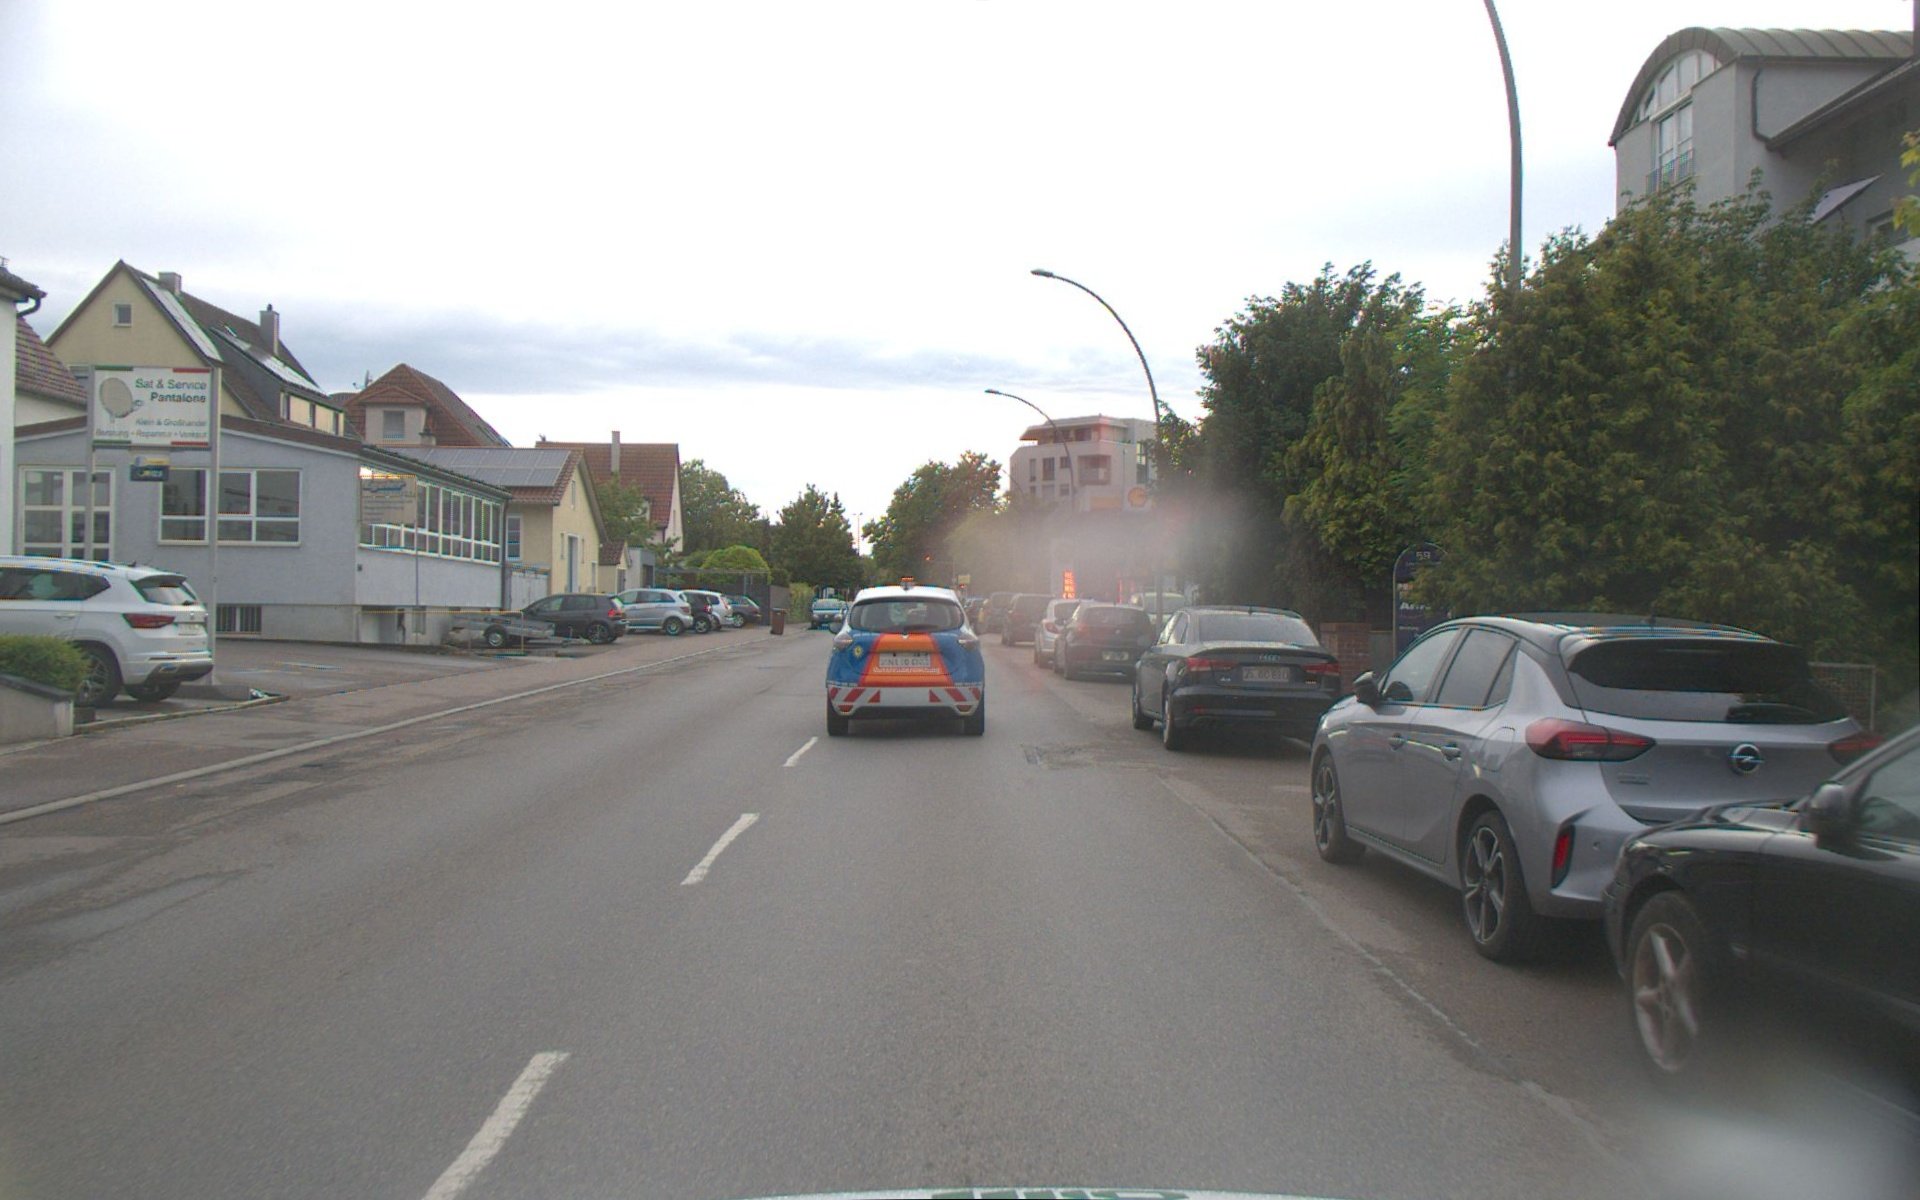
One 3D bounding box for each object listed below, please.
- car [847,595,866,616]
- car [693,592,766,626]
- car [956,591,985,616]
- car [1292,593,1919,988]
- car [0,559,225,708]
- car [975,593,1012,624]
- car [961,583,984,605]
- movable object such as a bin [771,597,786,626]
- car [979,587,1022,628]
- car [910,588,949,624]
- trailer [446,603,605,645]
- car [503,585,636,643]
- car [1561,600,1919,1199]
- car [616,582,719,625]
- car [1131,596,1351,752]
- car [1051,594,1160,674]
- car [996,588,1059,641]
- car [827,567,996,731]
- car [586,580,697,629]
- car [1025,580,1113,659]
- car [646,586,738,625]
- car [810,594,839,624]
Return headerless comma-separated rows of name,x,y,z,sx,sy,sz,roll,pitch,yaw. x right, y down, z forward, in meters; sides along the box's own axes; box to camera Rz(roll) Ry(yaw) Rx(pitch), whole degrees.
car,-6.422,0.339,102.645,1.128,1.254,3.371,0,1,-3
car,-10.473,0.406,75.272,3.217,1.473,1.478,-1,1,-5
car,0.643,0.200,105.722,1.617,1.509,3.998,2,0,-3
car,2.889,0.735,8.272,1.509,1.454,3.749,2,1,-3
car,-10.725,0.339,19.100,3.684,1.595,1.654,2,0,-3
car,1.681,0.433,84.629,1.617,1.509,3.998,2,0,-3
car,0.992,-0.483,133.085,1.617,1.682,3.998,2,0,-3
movable object such as a bin,-7.593,0.486,69.380,0.568,1.225,0.318,1,0,-1
car,1.769,0.326,73.809,1.617,1.701,3.998,2,0,-3
car,-1.419,0.256,75.018,1.617,1.548,3.998,2,0,-3
trailer,-12.016,0.668,45.912,3.942,1.012,1.654,2,0,-3
car,-11.382,0.397,48.393,3.511,1.553,1.653,2,0,-5
car,3.092,0.763,3.607,1.677,1.463,4.523,2,0,-3
car,-11.166,0.139,63.346,3.686,1.509,1.653,2,0,-5
car,2.816,0.684,17.391,1.572,1.398,4.086,2,0,0
car,2.666,0.592,31.098,1.616,1.358,3.999,0,1,-1
car,2.093,0.428,52.042,1.617,1.548,3.998,2,0,-3
car,-0.543,0.496,18.613,1.696,1.659,3.493,1,0,-2
car,-11.323,0.170,58.980,3.686,1.604,1.653,2,0,-5
car,2.326,0.415,35.959,1.451,1.582,3.859,2,-1,-2
car,-10.873,0.219,67.248,3.582,1.509,1.478,-1,1,-5
car,-6.886,0.439,84.271,1.358,1.509,3.782,1,0,-3
